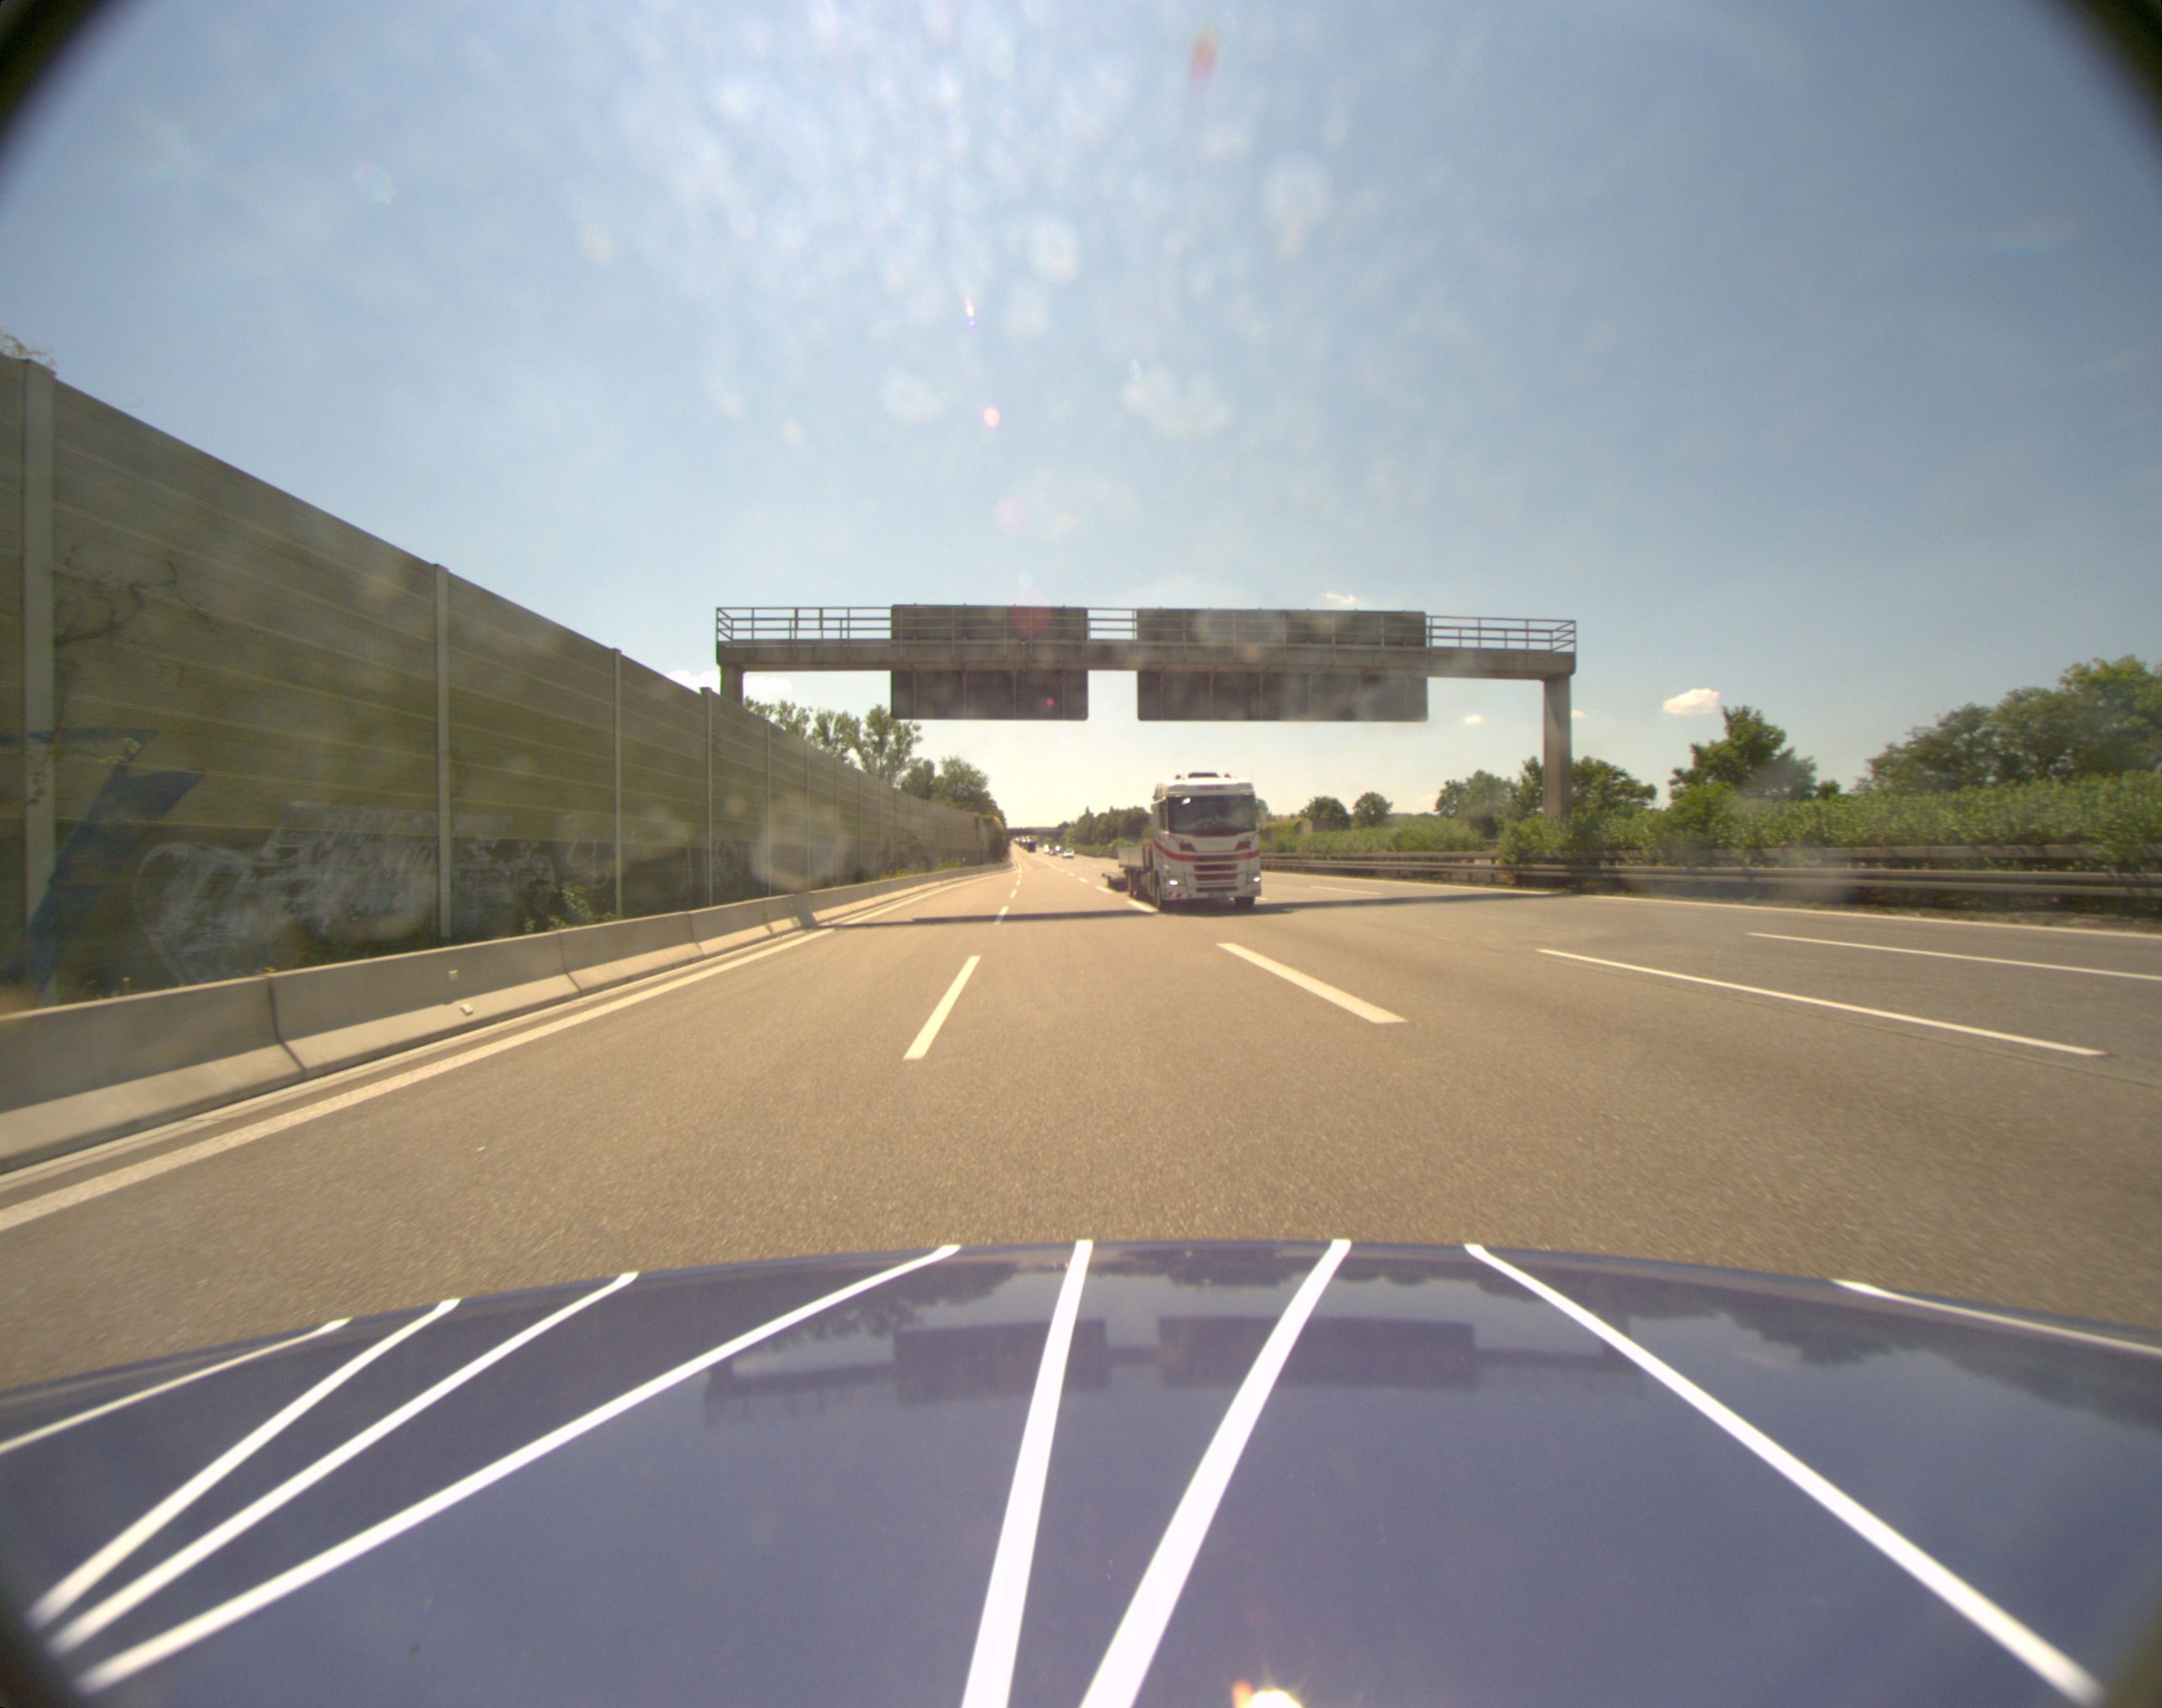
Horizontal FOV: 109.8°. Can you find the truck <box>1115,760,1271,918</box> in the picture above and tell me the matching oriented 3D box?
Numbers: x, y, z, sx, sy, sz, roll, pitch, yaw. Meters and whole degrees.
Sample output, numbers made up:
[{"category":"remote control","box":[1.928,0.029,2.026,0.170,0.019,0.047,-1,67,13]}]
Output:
[{"category":"truck","box":[2.999,-0.416,23.995,2.722,3.780,10.668,-2,1,-3]}]

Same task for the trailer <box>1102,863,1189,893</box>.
[{"category":"trailer","box":[2.598,0.968,33.161,2.722,0.929,7.757,-2,0,-3]}]

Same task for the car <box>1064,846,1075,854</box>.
[{"category":"car","box":[-2.050,-0.735,138.116,1.787,1.494,4.169,-1,0,-3]}]

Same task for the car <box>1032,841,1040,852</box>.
[{"category":"car","box":[-14.151,-2.219,238.186,2.116,3.283,6.442,-2,0,-6]}]

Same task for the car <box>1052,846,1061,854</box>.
[{"category":"car","box":[-5.778,-0.899,179.460,1.999,1.832,4.000,-2,0,0]}]

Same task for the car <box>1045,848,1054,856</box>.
[{"category":"car","box":[-8.410,-0.521,203.241,1.999,1.832,4.000,-2,0,0]}]

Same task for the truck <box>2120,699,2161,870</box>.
[{"category":"truck","box":[26.606,-1.640,13.053,3.010,3.944,10.317,-2,0,-3]}]
